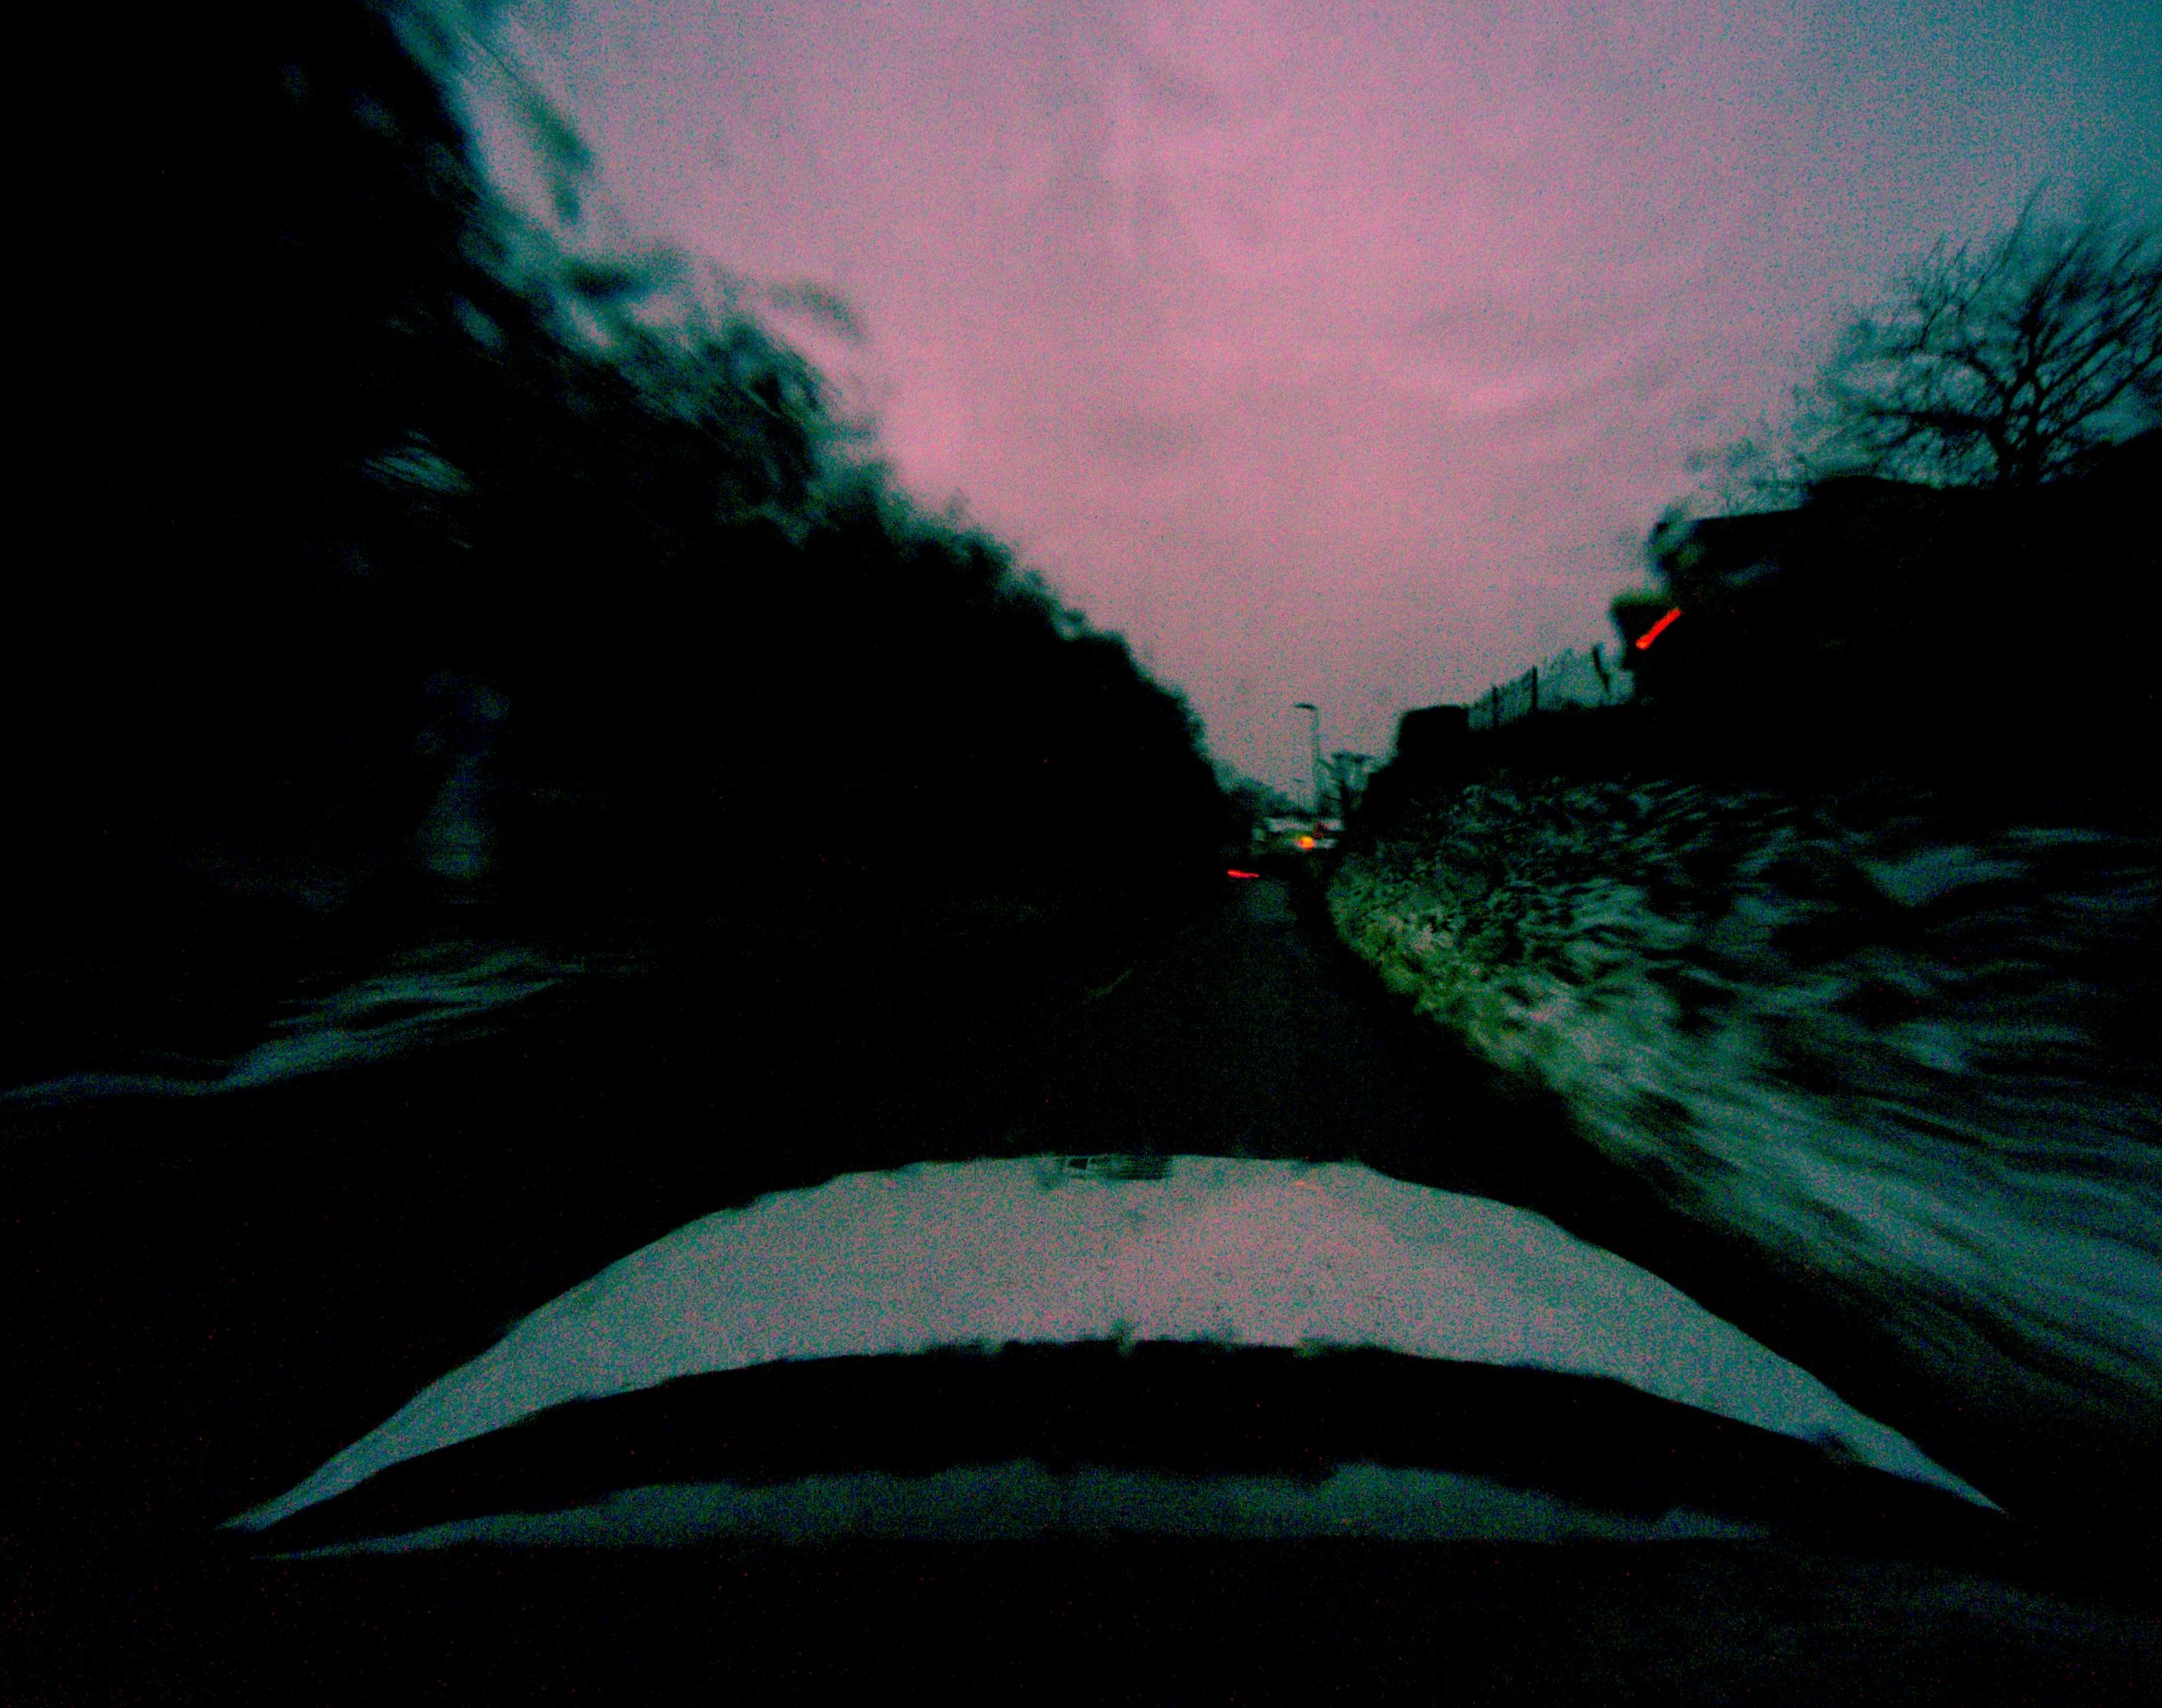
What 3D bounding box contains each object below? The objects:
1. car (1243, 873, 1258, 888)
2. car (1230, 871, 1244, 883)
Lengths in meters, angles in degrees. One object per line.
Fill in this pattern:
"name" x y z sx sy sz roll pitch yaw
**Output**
"car" 21.529 3.368 103.352 1.792 1.739 4.013 1 -3 13
"car" 22.331 3.297 116.674 1.792 1.618 4.013 1 -3 13
